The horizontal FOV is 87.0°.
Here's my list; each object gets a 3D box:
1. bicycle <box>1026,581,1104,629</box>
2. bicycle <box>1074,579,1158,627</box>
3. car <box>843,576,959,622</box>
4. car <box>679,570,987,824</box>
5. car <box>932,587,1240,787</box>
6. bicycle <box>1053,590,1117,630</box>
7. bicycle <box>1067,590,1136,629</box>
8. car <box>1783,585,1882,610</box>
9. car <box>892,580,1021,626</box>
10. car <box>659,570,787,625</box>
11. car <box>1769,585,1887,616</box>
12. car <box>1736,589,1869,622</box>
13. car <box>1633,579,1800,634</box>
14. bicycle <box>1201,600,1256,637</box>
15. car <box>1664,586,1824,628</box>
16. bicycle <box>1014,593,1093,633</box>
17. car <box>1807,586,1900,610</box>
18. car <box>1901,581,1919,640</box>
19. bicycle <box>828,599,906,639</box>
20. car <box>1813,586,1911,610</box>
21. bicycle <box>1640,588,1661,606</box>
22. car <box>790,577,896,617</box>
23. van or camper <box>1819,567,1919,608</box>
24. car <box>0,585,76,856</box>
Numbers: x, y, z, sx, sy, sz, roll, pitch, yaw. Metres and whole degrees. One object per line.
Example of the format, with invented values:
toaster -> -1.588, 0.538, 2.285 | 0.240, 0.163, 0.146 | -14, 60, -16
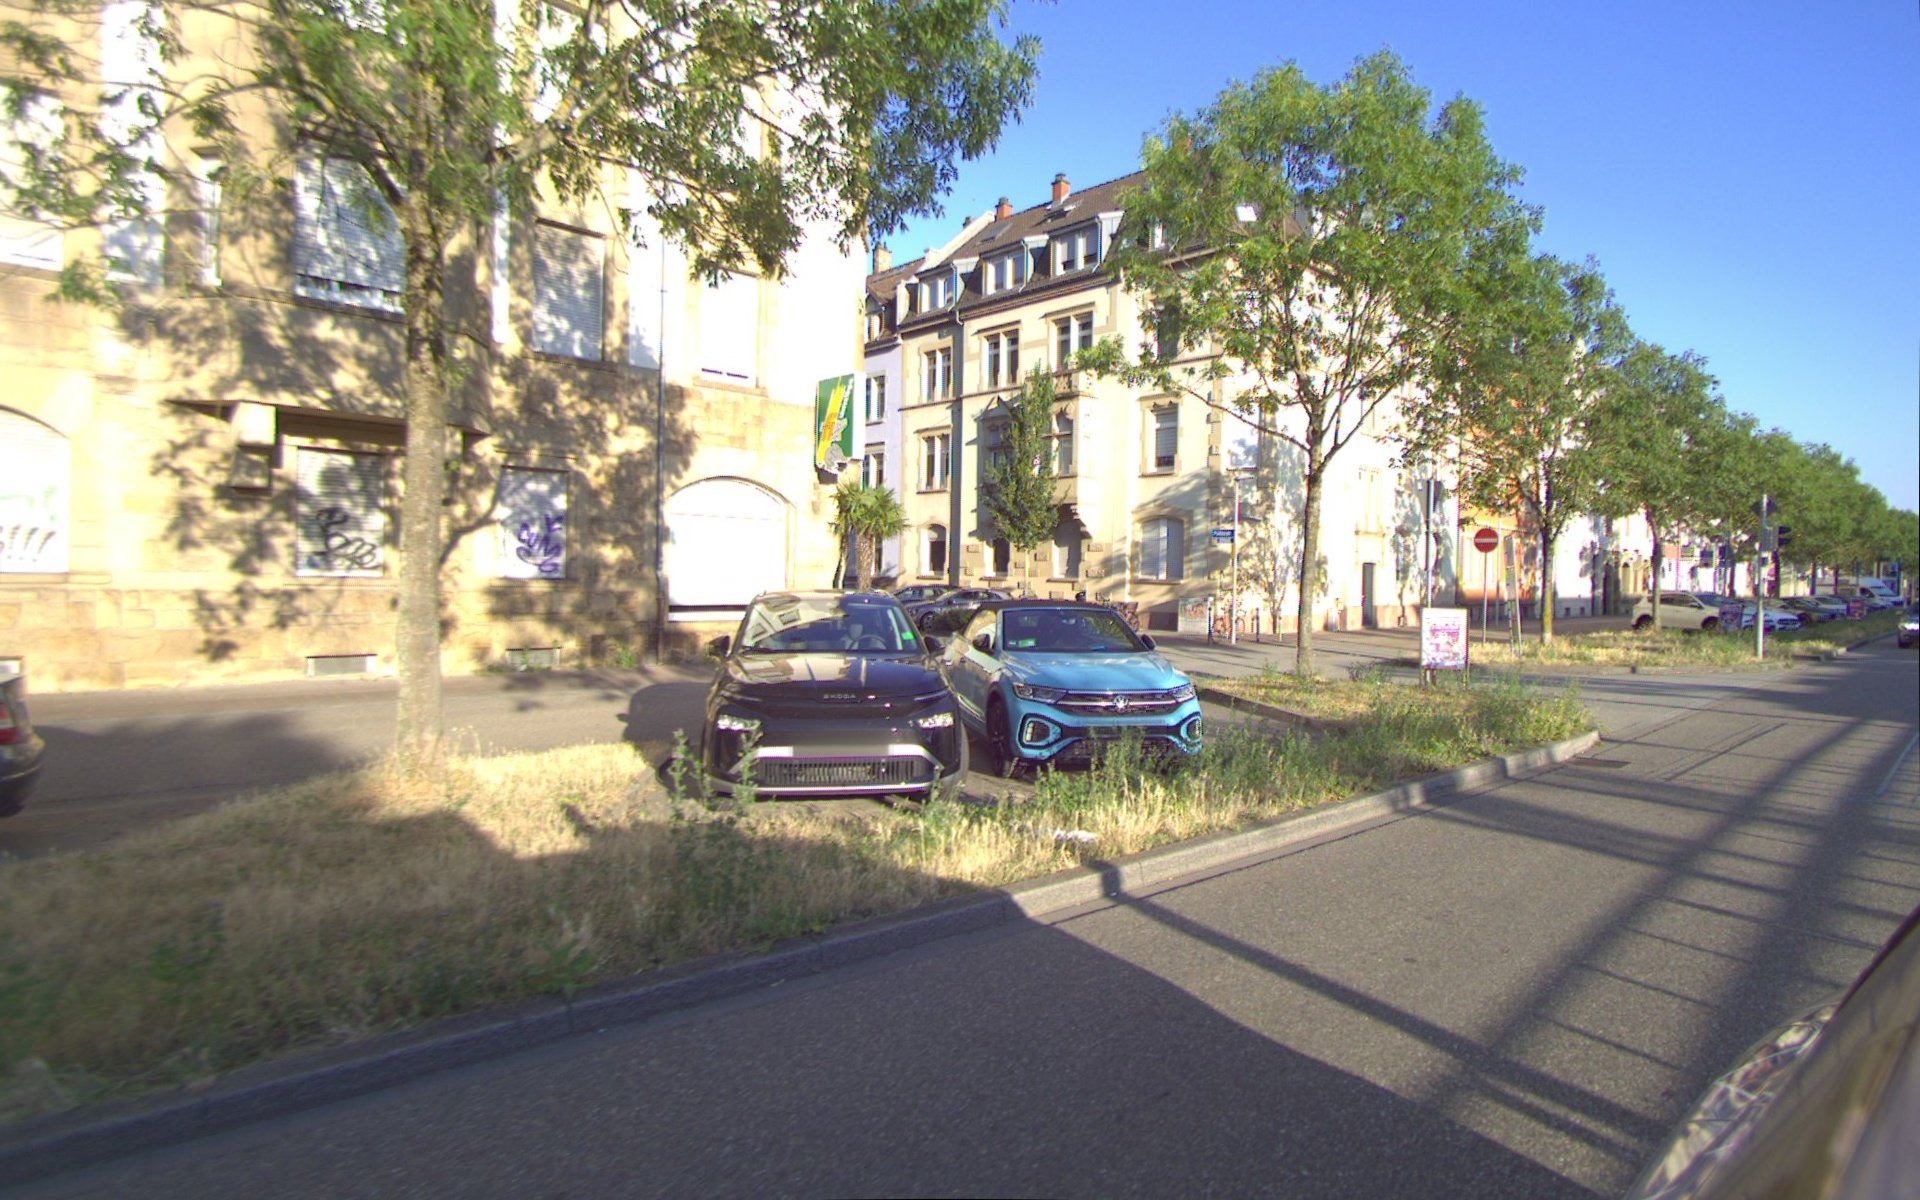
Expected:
bicycle -> 3.106, 0.132, 30.046 | 2.349, 1.336, 0.719 | 2, 1, 44
bicycle -> 4.875, 0.071, 31.730 | 2.664, 1.401, 0.719 | 2, 1, 44
car -> -2.151, -0.051, 36.755 | 3.793, 1.596, 1.872 | 0, 1, -22
car -> -1.187, 0.625, 8.652 | 1.960, 1.591, 4.348 | 0, -1, -11
car -> 0.965, 0.651, 10.132 | 1.808, 1.541, 4.295 | 0, 1, -11
bicycle -> 3.784, 0.290, 30.701 | 1.972, 1.138, 0.566 | 2, 1, 44
bicycle -> 4.331, 0.278, 31.048 | 2.204, 1.119, 0.530 | 2, 1, 44
car -> 52.893, -0.172, 61.463 | 1.847, 1.434, 4.442 | 0, 0, -7
car -> -0.148, 0.093, 34.619 | 4.113, 1.511, 1.872 | 0, 1, -13
car -> -7.181, -0.108, 30.468 | 1.966, 1.485, 3.991 | 3, 0, -43
car -> 45.819, -0.002, 53.557 | 1.810, 1.529, 4.654 | 0, 1, -8
car -> 38.776, 0.216, 46.753 | 1.857, 1.365, 4.592 | 0, 1, -11
car -> 25.322, 0.179, 34.109 | 1.877, 1.712, 4.440 | 1, 1, -8
bicycle -> 7.272, 0.483, 27.339 | 1.853, 0.882, 0.461 | -2, 8, -44
car -> 29.513, 0.214, 38.298 | 1.988, 1.417, 4.565 | 0, 1, -12
bicycle -> 2.699, 0.364, 29.337 | 2.328, 1.063, 0.719 | 2, 1, 44
car -> 55.308, -0.162, 62.733 | 1.691, 1.455, 4.061 | -1, 1, -15
car -> 29.450, 0.300, 30.051 | 3.935, 1.685, 1.995 | -1, 2, -44
bicycle -> -2.334, 0.472, 25.484 | 1.846, 0.959, 0.631 | 1, 0, -29
car -> 57.541, -0.145, 64.683 | 1.882, 1.441, 4.444 | 0, 0, -11
bicycle -> 43.330, -0.189, 63.492 | 2.191, 1.092, 0.588 | 0, 3, -44
car -> -4.501, -0.122, 38.865 | 3.634, 1.492, 1.872 | 0, 1, -24
van or camper -> 66.505, -0.927, 73.844 | 2.158, 2.847, 5.663 | 0, 1, -12
car -> -7.371, 0.685, 4.724 | 4.827, 1.463, 1.946 | -1, -1, -44
